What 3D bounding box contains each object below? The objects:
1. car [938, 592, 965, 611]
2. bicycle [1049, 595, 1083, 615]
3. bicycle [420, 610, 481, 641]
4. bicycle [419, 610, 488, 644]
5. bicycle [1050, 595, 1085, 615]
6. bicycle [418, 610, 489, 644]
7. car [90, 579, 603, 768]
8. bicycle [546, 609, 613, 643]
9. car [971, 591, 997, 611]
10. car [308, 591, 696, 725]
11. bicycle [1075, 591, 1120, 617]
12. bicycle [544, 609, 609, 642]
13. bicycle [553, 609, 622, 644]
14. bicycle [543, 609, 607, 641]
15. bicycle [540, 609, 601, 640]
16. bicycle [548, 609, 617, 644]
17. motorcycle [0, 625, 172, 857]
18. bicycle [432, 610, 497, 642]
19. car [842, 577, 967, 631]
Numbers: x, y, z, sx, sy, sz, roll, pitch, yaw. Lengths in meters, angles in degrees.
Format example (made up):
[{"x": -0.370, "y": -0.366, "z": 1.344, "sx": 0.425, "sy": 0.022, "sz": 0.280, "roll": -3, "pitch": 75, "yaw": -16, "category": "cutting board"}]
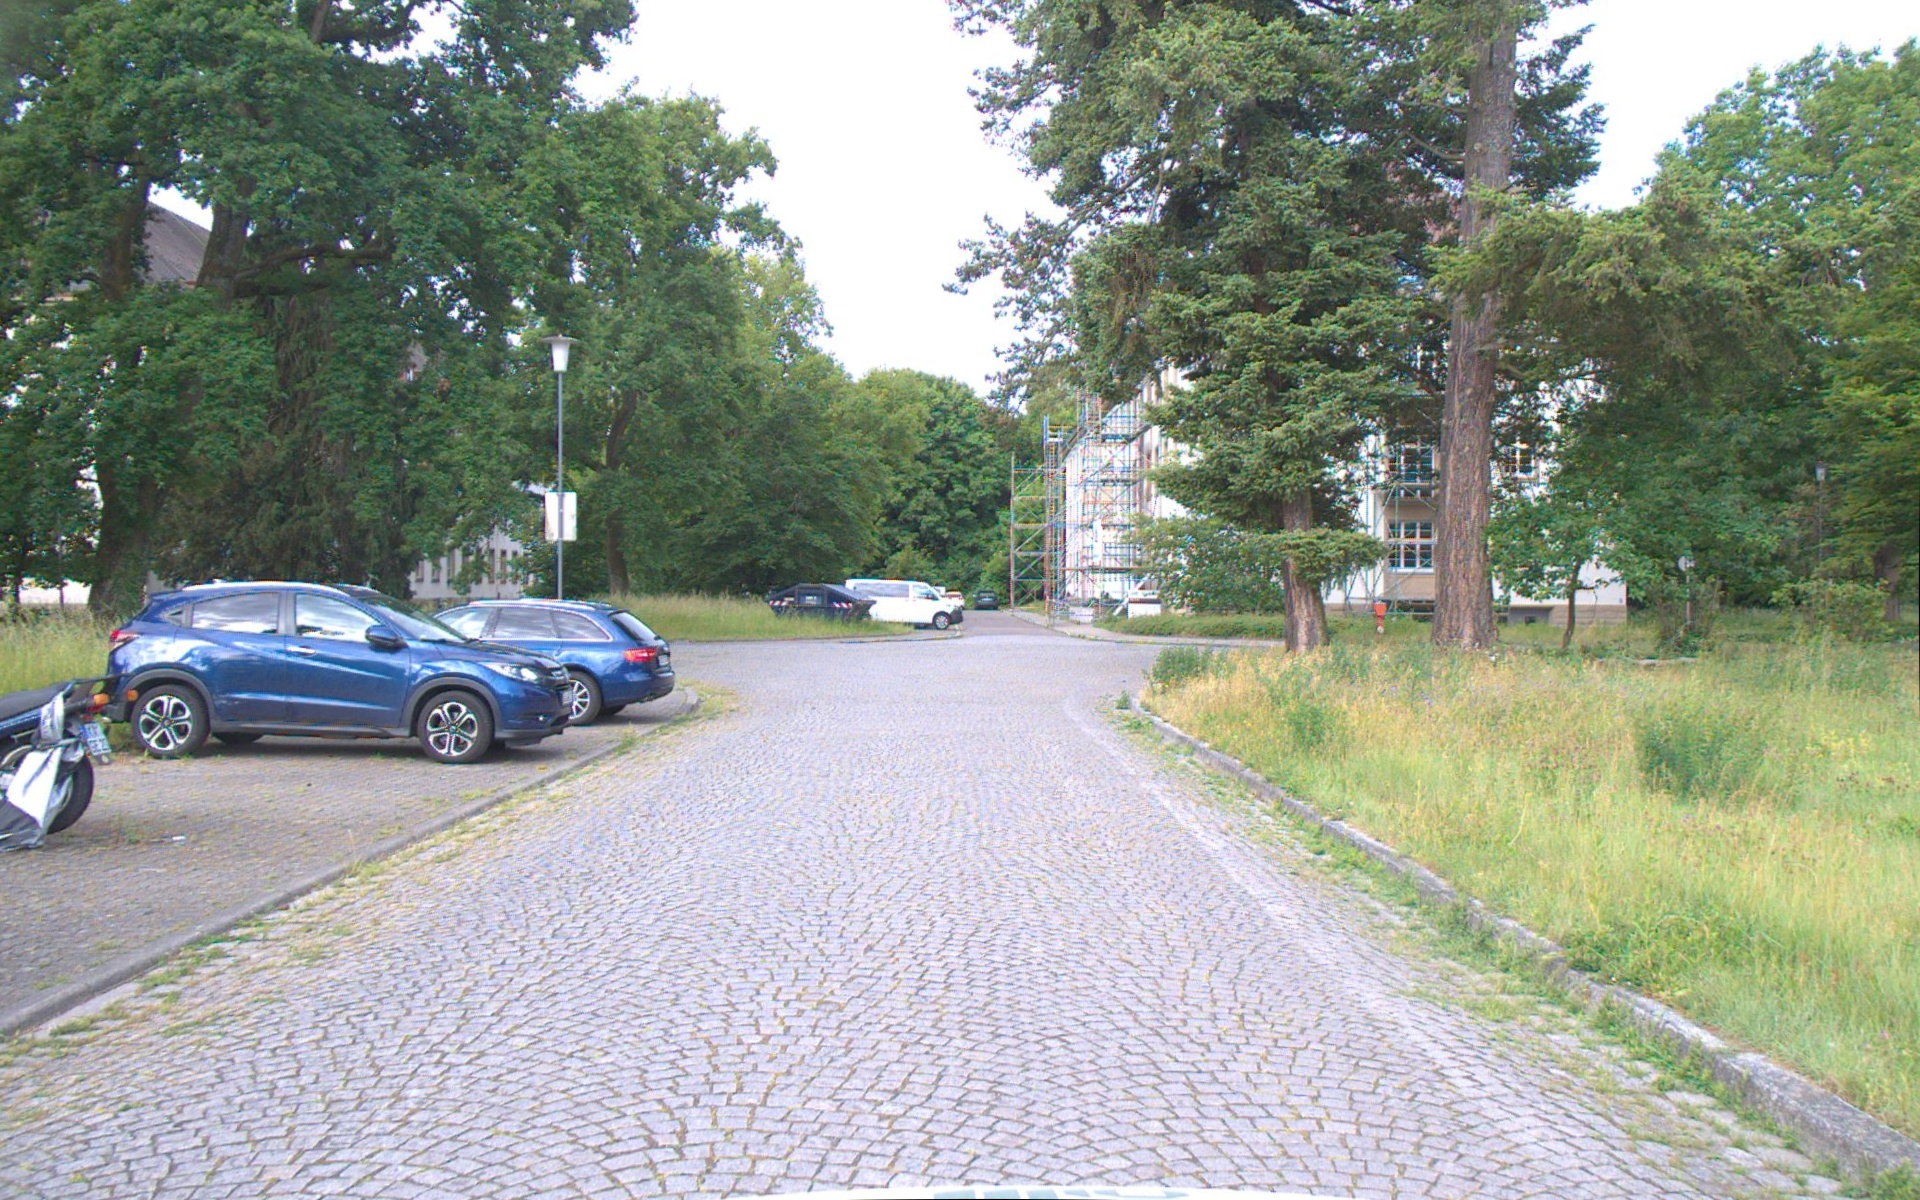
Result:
[{"x": -0.692, "y": 0.095, "z": 135.394, "sx": 2.076, "sy": 1.548, "sz": 3.999, "roll": 0, "pitch": 0, "yaw": -2, "category": "car"}, {"x": 6.901, "y": 0.337, "z": 107.431, "sx": 2.194, "sy": 1.276, "sz": 0.698, "roll": 0, "pitch": 0, "yaw": 1, "category": "bicycle"}, {"x": -16.943, "y": 0.831, "z": 55.054, "sx": 1.927, "sy": 1.007, "sz": 0.624, "roll": 0, "pitch": 0, "yaw": -18, "category": "bicycle"}, {"x": -15.173, "y": 0.799, "z": 49.588, "sx": 1.931, "sy": 1.007, "sz": 0.622, "roll": 0, "pitch": 0, "yaw": -24, "category": "bicycle"}, {"x": 6.893, "y": 0.331, "z": 106.034, "sx": 2.194, "sy": 1.276, "sz": 0.627, "roll": 0, "pitch": 0, "yaw": 1, "category": "bicycle"}, {"x": -15.041, "y": 0.796, "z": 49.100, "sx": 1.935, "sy": 1.007, "sz": 0.621, "roll": 0, "pitch": 0, "yaw": -28, "category": "bicycle"}, {"x": -5.671, "y": 0.649, "z": 15.715, "sx": 4.143, "sy": 1.604, "sz": 1.886, "roll": 1, "pitch": 0, "yaw": -2, "category": "car"}, {"x": -11.605, "y": 0.788, "z": 50.477, "sx": 1.931, "sy": 1.007, "sz": 0.622, "roll": 0, "pitch": 0, "yaw": -24, "category": "bicycle"}, {"x": 1.929, "y": 0.085, "z": 135.727, "sx": 1.912, "sy": 1.548, "sz": 3.998, "roll": 0, "pitch": 0, "yaw": -2, "category": "car"}, {"x": -5.569, "y": 0.677, "z": 20.508, "sx": 4.214, "sy": 1.486, "sz": 1.975, "roll": 1, "pitch": 0, "yaw": 1, "category": "car"}, {"x": 6.858, "y": 0.216, "z": 82.466, "sx": 2.194, "sy": 1.276, "sz": 0.778, "roll": 0, "pitch": 0, "yaw": 1, "category": "bicycle"}, {"x": -12.216, "y": 0.801, "z": 52.696, "sx": 1.931, "sy": 1.007, "sz": 0.622, "roll": 0, "pitch": 0, "yaw": -24, "category": "bicycle"}, {"x": -11.148, "y": 0.782, "z": 49.511, "sx": 1.931, "sy": 1.007, "sz": 0.622, "roll": 0, "pitch": 0, "yaw": -24, "category": "bicycle"}, {"x": -12.397, "y": 0.804, "z": 53.276, "sx": 1.931, "sy": 1.007, "sz": 0.622, "roll": 0, "pitch": 0, "yaw": -24, "category": "bicycle"}, {"x": -12.943, "y": 0.815, "z": 54.964, "sx": 1.931, "sy": 1.007, "sz": 0.622, "roll": 0, "pitch": 0, "yaw": -24, "category": "bicycle"}, {"x": -11.167, "y": 0.779, "z": 48.887, "sx": 1.929, "sy": 1.007, "sz": 0.623, "roll": 0, "pitch": 0, "yaw": -21, "category": "bicycle"}, {"x": -6.073, "y": 0.812, "z": 10.008, "sx": 2.228, "sy": 1.314, "sz": 0.719, "roll": 2, "pitch": 0, "yaw": 0, "category": "motorcycle"}, {"x": -15.759, "y": 0.816, "z": 52.636, "sx": 1.922, "sy": 1.007, "sz": 0.625, "roll": 0, "pitch": 0, "yaw": -11, "category": "bicycle"}, {"x": -2.330, "y": 0.151, "z": 69.375, "sx": 5.130, "sy": 2.206, "sz": 1.999, "roll": 0, "pitch": 0, "yaw": -3, "category": "car"}]
